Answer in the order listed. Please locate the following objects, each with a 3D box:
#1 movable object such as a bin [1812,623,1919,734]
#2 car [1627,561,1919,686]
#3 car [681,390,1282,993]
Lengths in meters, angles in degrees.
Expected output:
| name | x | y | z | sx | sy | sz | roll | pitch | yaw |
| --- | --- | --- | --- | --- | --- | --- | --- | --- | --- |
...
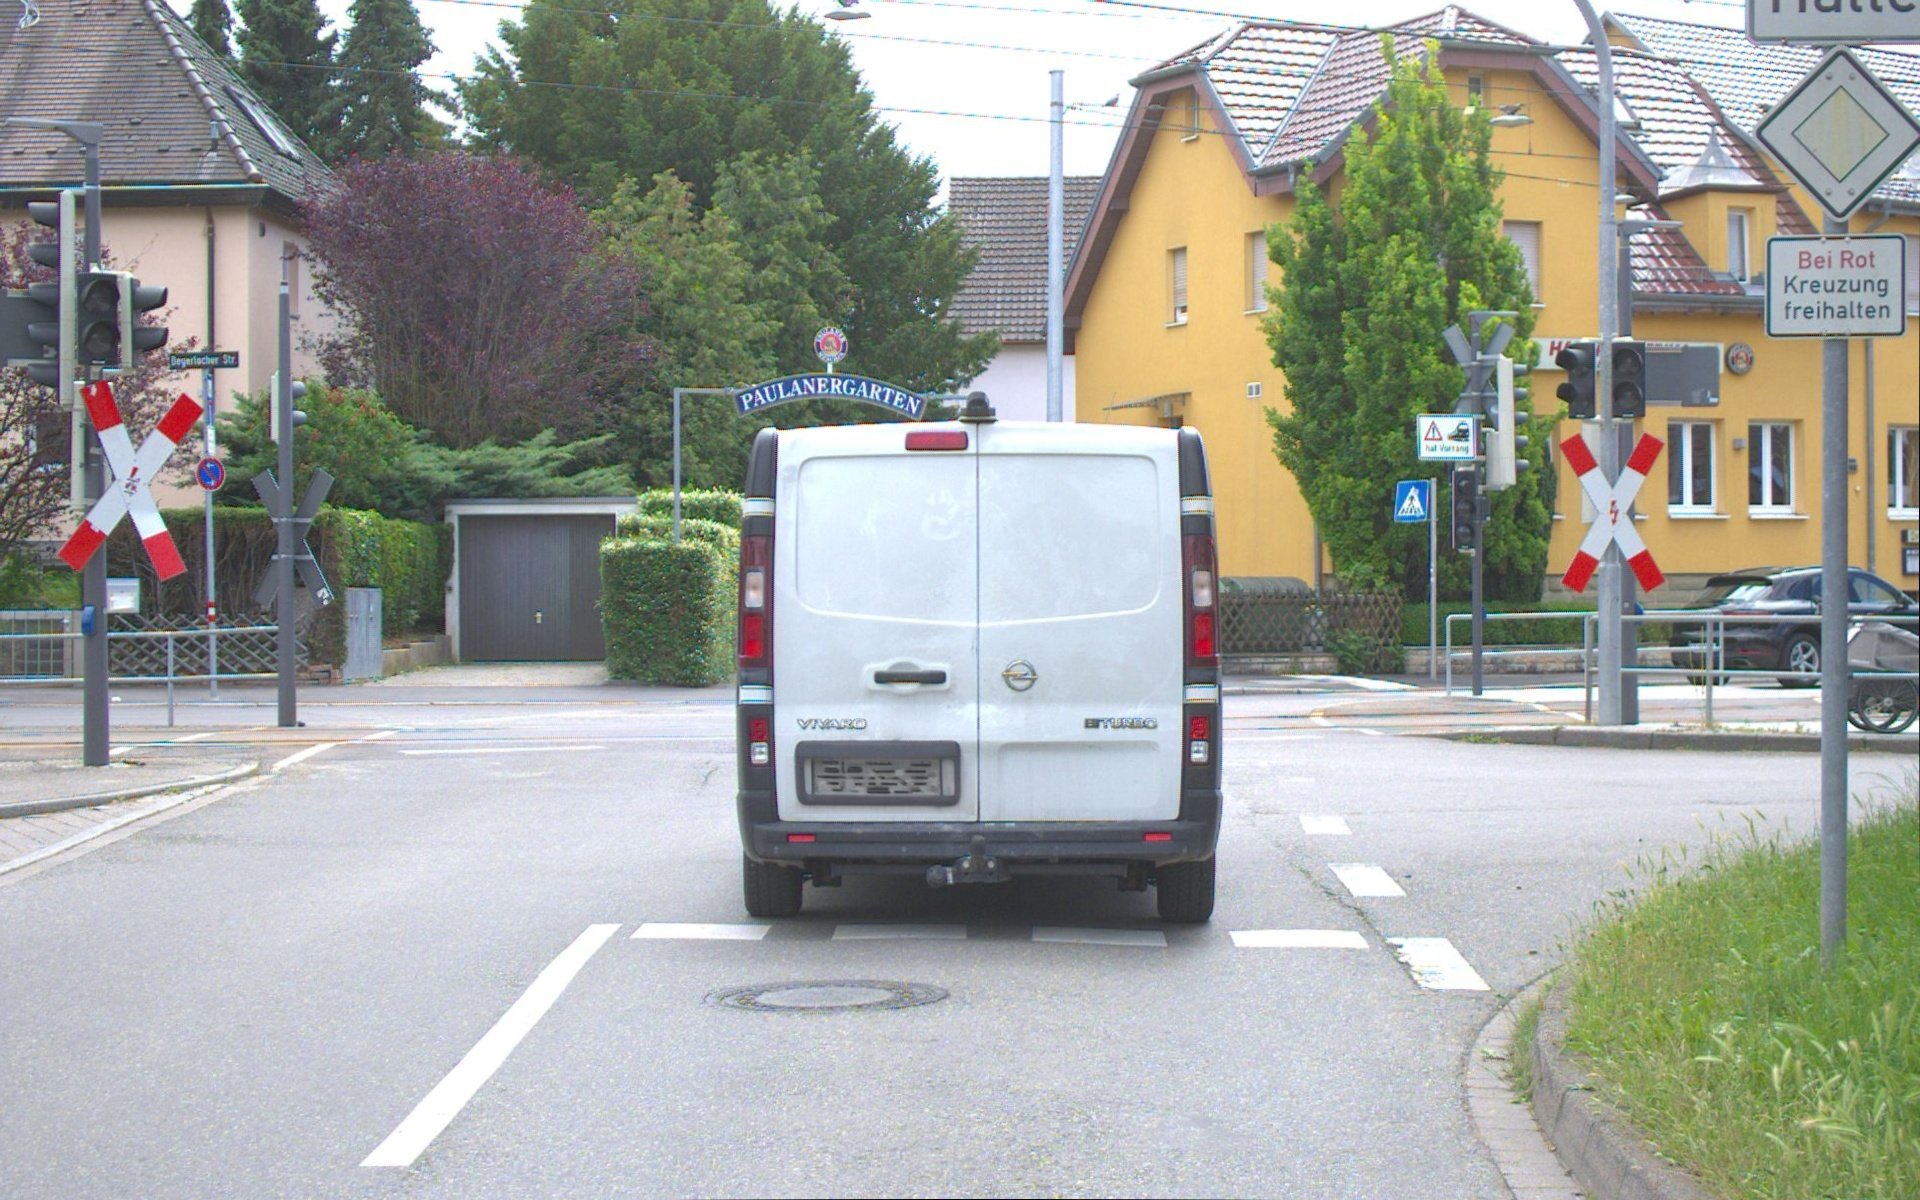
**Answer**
| name | x | y | z | sx | sy | sz | roll | pitch | yaw |
| --- | --- | --- | --- | --- | --- | --- | --- | --- | --- |
| movable object such as a bin | 7.074 | 0.588 | 26.000 | 1.091 | 0.822 | 0.579 | 0 | 0 | -4 |
| car | 11.394 | 0.317 | 45.895 | 4.357 | 1.559 | 2.363 | 1 | 1 | -29 |
| car | -0.011 | 0.289 | 14.939 | 2.116 | 2.127 | 5.441 | 0 | 1 | -2 |
